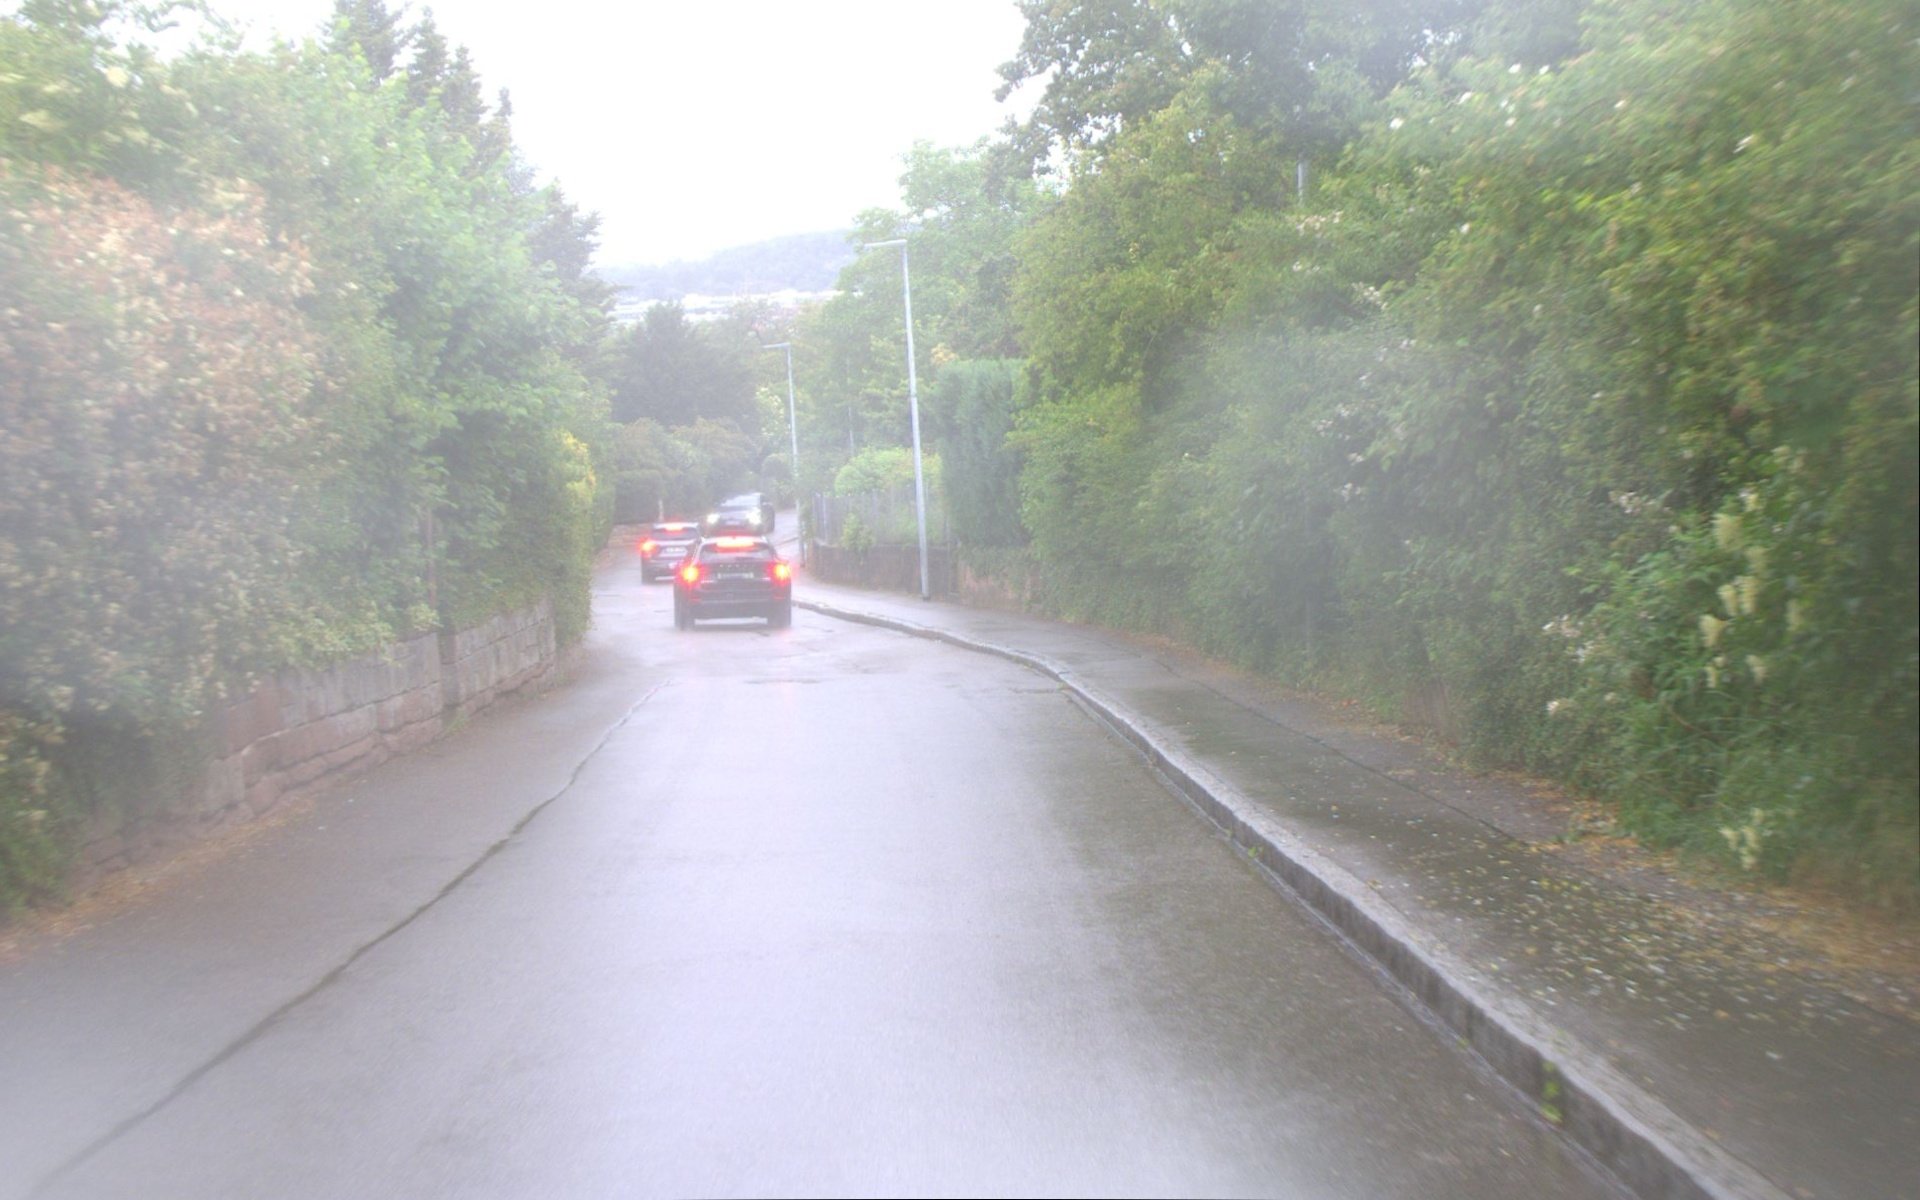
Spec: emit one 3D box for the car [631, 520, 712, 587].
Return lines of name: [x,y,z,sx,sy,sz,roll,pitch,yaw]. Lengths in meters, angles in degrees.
car: [-7.482,-1.223,89.453,1.678,1.559,3.795,-1,3,1]

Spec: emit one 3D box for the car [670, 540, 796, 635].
car: [-3.680,-0.228,55.226,1.834,1.459,4.001,0,1,-6]
